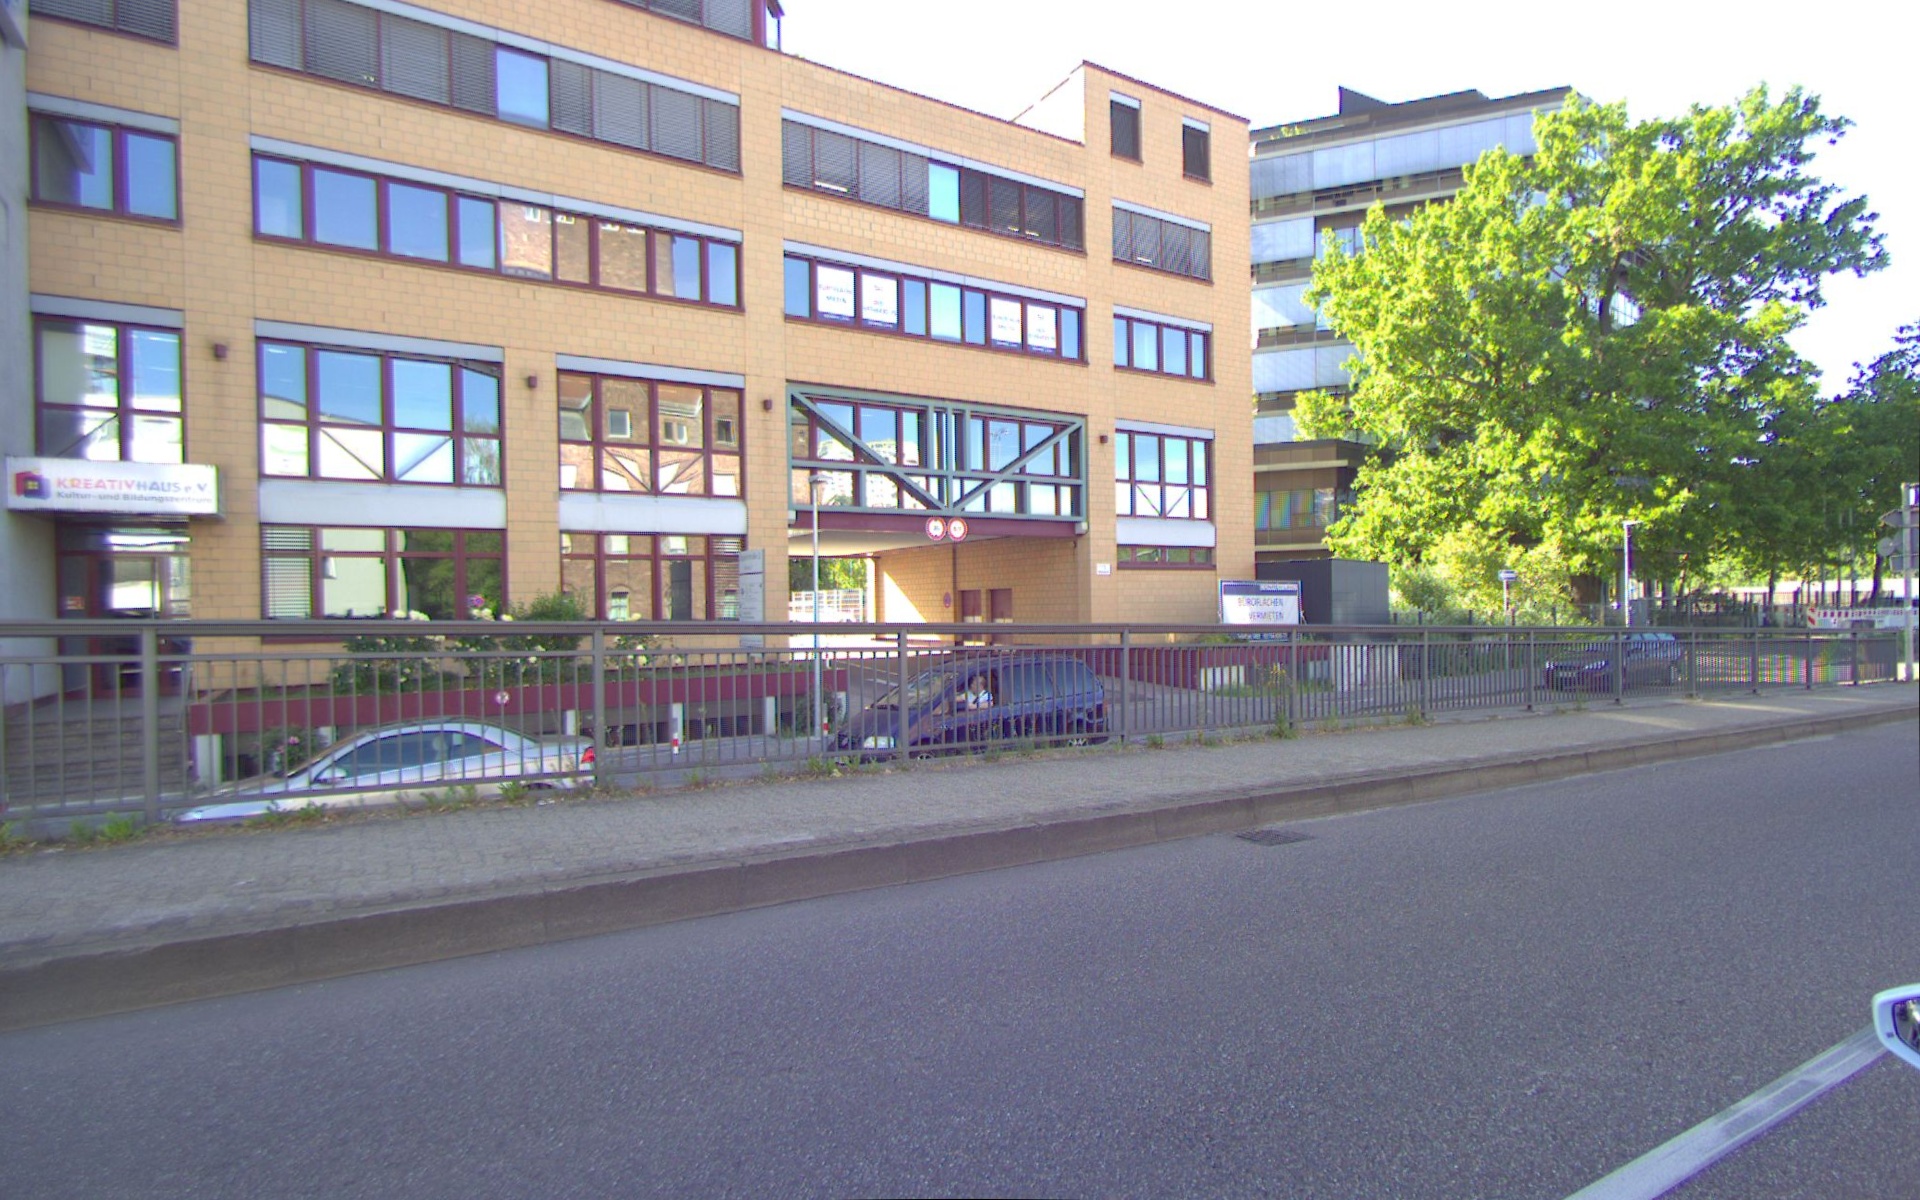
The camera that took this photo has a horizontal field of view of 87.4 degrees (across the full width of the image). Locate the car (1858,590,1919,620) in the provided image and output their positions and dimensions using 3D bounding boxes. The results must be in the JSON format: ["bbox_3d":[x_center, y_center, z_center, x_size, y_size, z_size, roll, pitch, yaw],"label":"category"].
[{"bbox_3d":[59.128,0.321,62.707,1.885,1.818,4.901,-1,-1,4],"label":"car"}]

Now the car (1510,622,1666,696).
[{"bbox_3d":[16.441,1.468,26.275,3.953,1.715,1.843,-1,0,-30],"label":"car"}]

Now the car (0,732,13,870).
[{"bbox_3d":[-10.603,1.930,8.302,3.766,1.286,1.567,0,-2,-32],"label":"car"}]

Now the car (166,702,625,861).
[{"bbox_3d":[-6.128,1.899,11.307,4.210,1.181,1.713,0,-2,-32],"label":"car"}]

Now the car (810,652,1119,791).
[{"bbox_3d":[0.164,1.696,15.182,4.541,1.669,1.710,0,-2,-36],"label":"car"}]
